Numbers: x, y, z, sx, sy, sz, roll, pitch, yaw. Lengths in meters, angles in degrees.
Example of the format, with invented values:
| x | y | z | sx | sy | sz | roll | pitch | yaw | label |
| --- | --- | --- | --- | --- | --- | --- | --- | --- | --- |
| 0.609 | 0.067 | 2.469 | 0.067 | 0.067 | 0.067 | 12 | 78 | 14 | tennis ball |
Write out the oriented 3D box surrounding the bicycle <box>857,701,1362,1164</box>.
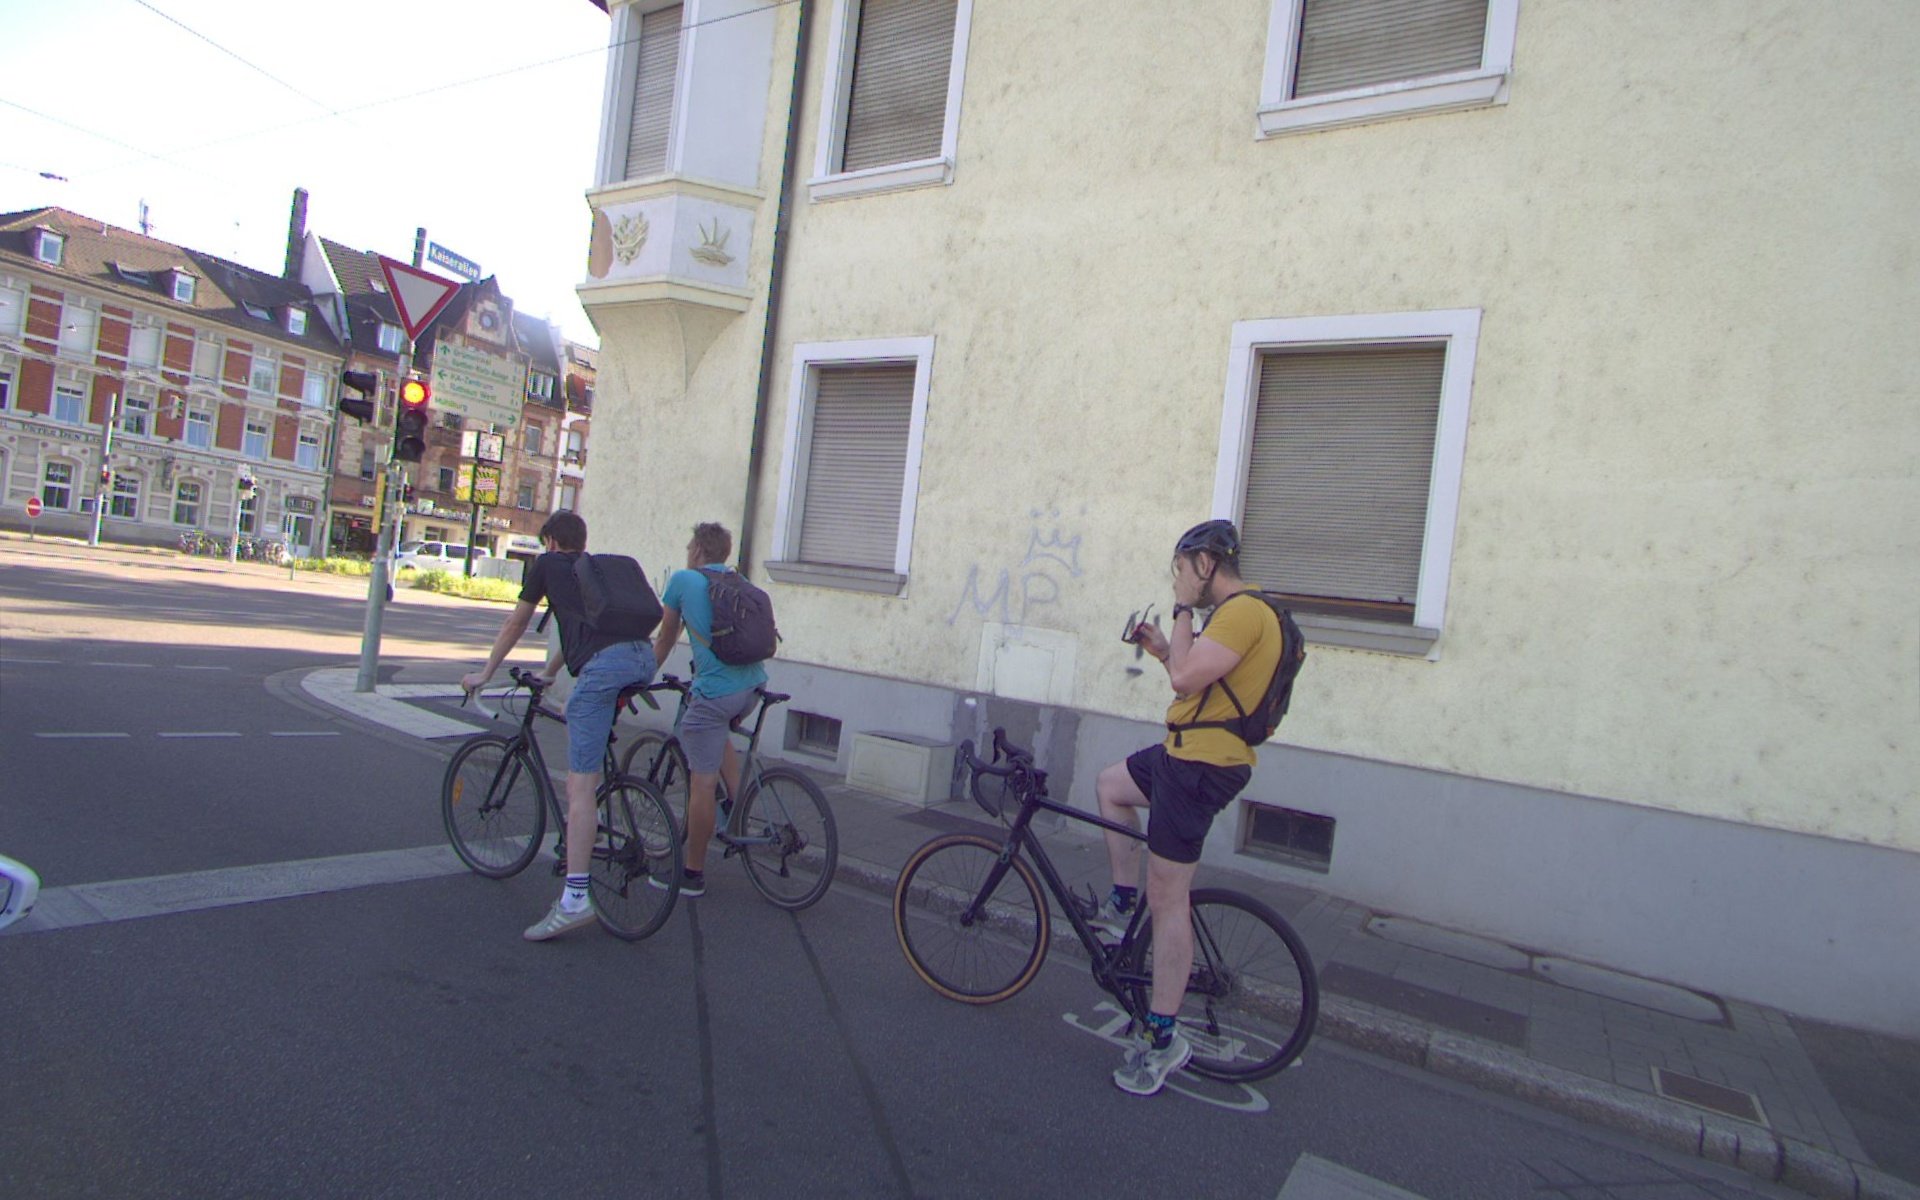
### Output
| x | y | z | sx | sy | sz | roll | pitch | yaw | label |
| --- | --- | --- | --- | --- | --- | --- | --- | --- | --- |
| 0.512 | 1.093 | 3.782 | 1.670 | 1.180 | 0.571 | 7 | 0 | 32 | bicycle |

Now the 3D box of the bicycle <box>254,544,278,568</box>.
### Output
| x | y | z | sx | sy | sz | roll | pitch | yaw | label |
| --- | --- | --- | --- | --- | --- | --- | --- | --- | --- |
| -33.315 | -2.116 | 48.297 | 1.759 | 1.033 | 0.485 | 7 | 0 | 42 | bicycle |

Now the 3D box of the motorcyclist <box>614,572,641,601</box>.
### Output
| x | y | z | sx | sy | sz | roll | pitch | yaw | label |
| --- | --- | --- | --- | --- | --- | --- | --- | --- | --- |
| -17.642 | -0.698 | 53.382 | 0.732 | 1.371 | 1.004 | 7 | 0 | 32 | motorcyclist |

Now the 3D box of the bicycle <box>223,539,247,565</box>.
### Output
| x | y | z | sx | sy | sz | roll | pitch | yaw | label |
| --- | --- | --- | --- | --- | --- | --- | --- | --- | --- |
| -34.006 | -2.252 | 47.177 | 1.759 | 1.033 | 0.485 | 7 | 0 | 42 | bicycle |

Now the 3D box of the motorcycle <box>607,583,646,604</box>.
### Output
| x | y | z | sx | sy | sz | roll | pitch | yaw | label |
| --- | --- | --- | --- | --- | --- | --- | --- | --- | --- |
| -17.678 | -0.333 | 53.375 | 0.552 | 0.908 | 2.043 | 7 | -1 | 31 | motorcycle |

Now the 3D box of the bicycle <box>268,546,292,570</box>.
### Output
| x | y | z | sx | sy | sz | roll | pitch | yaw | label |
| --- | --- | --- | --- | --- | --- | --- | --- | --- | --- |
| -33.095 | -2.060 | 48.984 | 1.759 | 1.033 | 0.485 | 7 | 0 | 42 | bicycle |

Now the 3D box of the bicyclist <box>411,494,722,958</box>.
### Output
| x | y | z | sx | sy | sz | roll | pitch | yaw | label |
| --- | --- | --- | --- | --- | --- | --- | --- | --- | --- |
| -1.751 | 0.495 | 4.478 | 0.978 | 1.788 | 0.652 | 7 | 0 | 32 | bicyclist |

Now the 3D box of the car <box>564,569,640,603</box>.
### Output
| x | y | z | sx | sy | sz | roll | pitch | yaw | label |
| --- | --- | --- | --- | --- | --- | --- | --- | --- | --- |
| -23.178 | -0.886 | 65.237 | 1.966 | 1.641 | 4.261 | 7 | -1 | 29 | car |

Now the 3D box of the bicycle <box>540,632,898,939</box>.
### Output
| x | y | z | sx | sy | sz | roll | pitch | yaw | label |
| --- | --- | --- | --- | --- | --- | --- | --- | --- | --- |
| -1.310 | 0.880 | 5.289 | 1.858 | 1.180 | 0.571 | 7 | 0 | 32 | bicycle |

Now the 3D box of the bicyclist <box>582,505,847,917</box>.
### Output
| x | y | z | sx | sy | sz | roll | pitch | yaw | label |
| --- | --- | --- | --- | --- | --- | --- | --- | --- | --- |
| -1.287 | 0.527 | 5.279 | 0.978 | 1.910 | 0.652 | 7 | 0 | 32 | bicyclist |

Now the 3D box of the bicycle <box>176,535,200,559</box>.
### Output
| x | y | z | sx | sy | sz | roll | pitch | yaw | label |
| --- | --- | --- | --- | --- | --- | --- | --- | --- | --- |
| -35.069 | -2.416 | 45.671 | 1.759 | 0.925 | 0.485 | 7 | 0 | 42 | bicycle |

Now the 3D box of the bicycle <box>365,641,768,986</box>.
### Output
| x | y | z | sx | sy | sz | roll | pitch | yaw | label |
| --- | --- | --- | --- | --- | --- | --- | --- | --- | --- |
| -1.799 | 0.838 | 4.477 | 1.858 | 1.071 | 0.571 | 7 | 0 | 32 | bicycle |

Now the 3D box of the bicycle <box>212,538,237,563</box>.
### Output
| x | y | z | sx | sy | sz | roll | pitch | yaw | label |
| --- | --- | --- | --- | --- | --- | --- | --- | --- | --- |
| -34.192 | -2.294 | 46.753 | 1.759 | 1.033 | 0.485 | 7 | 0 | 42 | bicycle |

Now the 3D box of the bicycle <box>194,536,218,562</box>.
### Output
| x | y | z | sx | sy | sz | roll | pitch | yaw | label |
| --- | --- | --- | --- | --- | --- | --- | --- | --- | --- |
| -34.643 | -2.343 | 46.207 | 1.759 | 1.033 | 0.485 | 7 | 0 | 42 | bicycle |

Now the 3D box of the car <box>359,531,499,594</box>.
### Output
| x | y | z | sx | sy | sz | roll | pitch | yaw | label |
| --- | --- | --- | --- | --- | --- | --- | --- | --- | --- |
| -23.272 | -1.612 | 44.270 | 1.967 | 2.037 | 4.988 | 7 | -1 | 31 | car |

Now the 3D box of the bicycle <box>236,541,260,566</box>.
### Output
| x | y | z | sx | sy | sz | roll | pitch | yaw | label |
| --- | --- | --- | --- | --- | --- | --- | --- | --- | --- |
| -33.678 | -2.193 | 47.569 | 1.759 | 1.033 | 0.485 | 7 | 0 | 42 | bicycle |

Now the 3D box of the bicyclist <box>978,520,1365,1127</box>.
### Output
| x | y | z | sx | sy | sz | roll | pitch | yaw | label |
| --- | --- | --- | --- | --- | --- | --- | --- | --- | --- |
| 0.771 | 0.699 | 3.665 | 1.019 | 1.839 | 0.652 | 7 | 0 | 32 | bicyclist |
